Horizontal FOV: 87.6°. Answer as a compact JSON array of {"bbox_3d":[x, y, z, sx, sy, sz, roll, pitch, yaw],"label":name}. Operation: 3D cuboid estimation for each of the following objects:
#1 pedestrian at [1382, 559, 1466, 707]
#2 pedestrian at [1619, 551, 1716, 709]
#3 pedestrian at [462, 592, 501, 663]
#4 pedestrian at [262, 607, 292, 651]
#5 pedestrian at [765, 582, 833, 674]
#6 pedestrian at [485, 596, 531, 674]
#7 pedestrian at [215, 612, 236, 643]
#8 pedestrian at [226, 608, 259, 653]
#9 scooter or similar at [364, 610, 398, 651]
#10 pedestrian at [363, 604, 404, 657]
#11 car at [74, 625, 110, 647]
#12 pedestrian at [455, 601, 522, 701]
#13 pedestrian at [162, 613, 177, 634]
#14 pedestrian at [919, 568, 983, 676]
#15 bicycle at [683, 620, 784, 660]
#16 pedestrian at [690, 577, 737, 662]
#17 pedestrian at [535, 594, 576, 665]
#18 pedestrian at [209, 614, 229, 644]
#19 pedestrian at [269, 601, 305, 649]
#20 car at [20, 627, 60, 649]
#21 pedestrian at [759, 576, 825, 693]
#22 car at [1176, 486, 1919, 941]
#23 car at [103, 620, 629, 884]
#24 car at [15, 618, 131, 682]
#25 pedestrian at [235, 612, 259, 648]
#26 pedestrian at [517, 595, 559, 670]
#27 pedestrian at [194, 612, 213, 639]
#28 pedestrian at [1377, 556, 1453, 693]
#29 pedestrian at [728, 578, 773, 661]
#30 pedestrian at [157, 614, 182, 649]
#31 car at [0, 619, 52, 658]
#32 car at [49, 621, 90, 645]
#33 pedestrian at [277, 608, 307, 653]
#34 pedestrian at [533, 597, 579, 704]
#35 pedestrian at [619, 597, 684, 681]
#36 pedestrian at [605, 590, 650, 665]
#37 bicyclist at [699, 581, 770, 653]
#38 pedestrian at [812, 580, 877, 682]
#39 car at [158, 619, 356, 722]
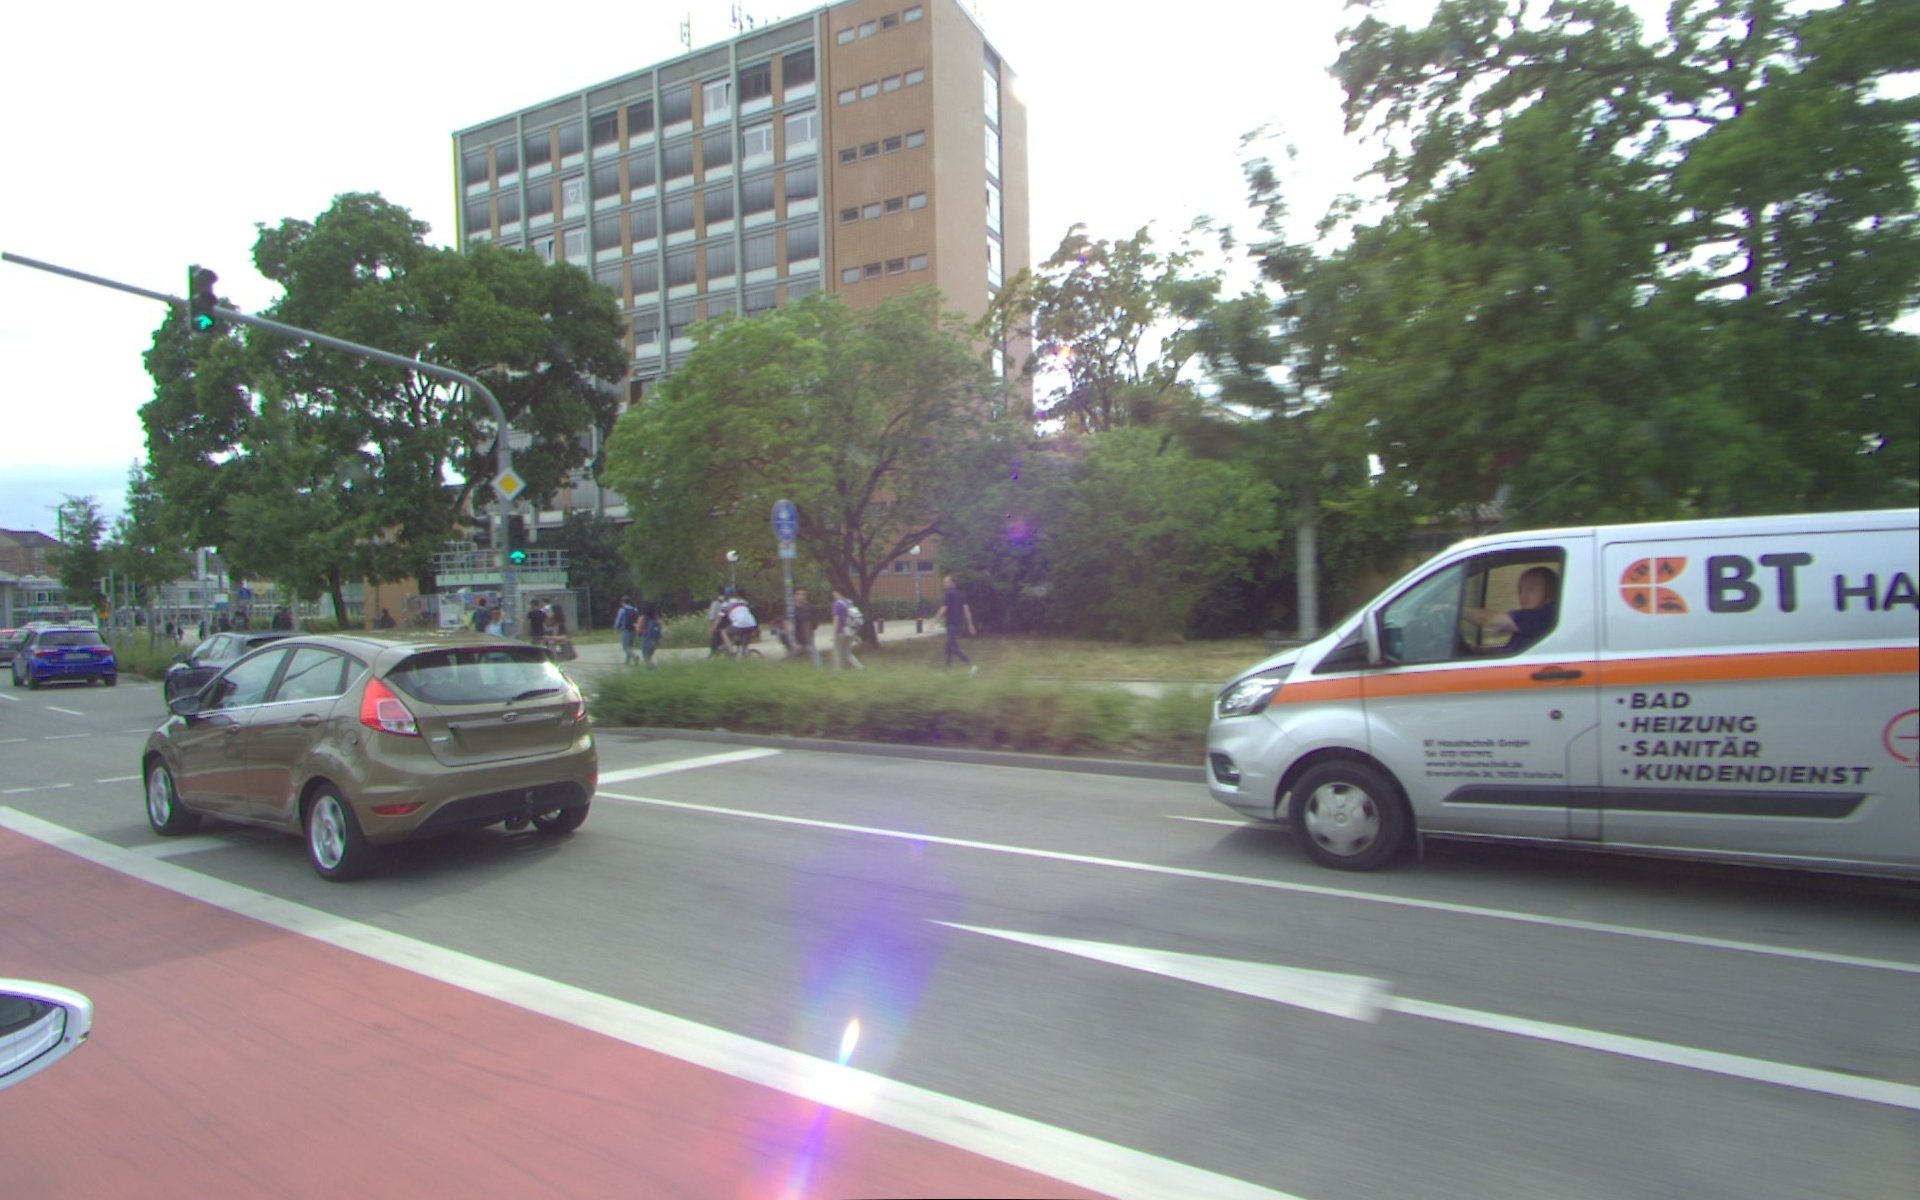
[{"bbox_3d":[5.665,0.402,12.275,0.785,1.733,0.839,-1,-1,16],"label":"pedestrian"},{"bbox_3d":[8.071,0.342,11.459,0.787,1.733,0.712,-1,-1,28],"label":"pedestrian"},{"bbox_3d":[-12.863,0.735,26.926,0.698,1.877,0.636,-1,1,34],"label":"pedestrian"},{"bbox_3d":[-27.806,1.182,40.774,0.801,1.733,0.776,-1,-1,34],"label":"pedestrian"},{"bbox_3d":[-3.137,0.554,19.494,0.999,1.733,0.835,-1,-1,34],"label":"pedestrian"},{"bbox_3d":[-10.344,0.792,22.932,0.698,1.734,0.636,-1,1,34],"label":"pedestrian"},{"bbox_3d":[-39.153,1.442,53.381,0.769,1.595,0.807,-3,2,-33],"label":"pedestrian"},{"bbox_3d":[-28.385,1.202,39.626,1.014,1.733,0.776,-1,-1,34],"label":"pedestrian"},{"bbox_3d":[-20.065,1.067,34.711,1.128,1.388,0.398,-1,-1,21],"label":"scooter or similar"},{"bbox_3d":[-18.103,0.951,31.439,0.801,1.595,0.775,-1,2,34],"label":"pedestrian"},{"bbox_3d":[-59.350,2.474,68.490,1.689,1.438,3.672,1,-2,-39],"label":"car"},{"bbox_3d":[-8.437,0.903,17.931,0.829,1.733,0.795,-1,-1,36],"label":"pedestrian"},{"bbox_3d":[-60.722,1.820,76.918,0.769,1.595,0.807,-3,2,-33],"label":"pedestrian"},{"bbox_3d":[-0.156,0.384,17.576,0.789,1.832,0.835,-1,-1,34],"label":"pedestrian"},{"bbox_3d":[-4.218,0.740,18.625,1.820,0.703,0.839,-2,-2,35],"label":"bicycle"},{"bbox_3d":[-5.088,0.408,20.671,0.698,1.733,0.636,-1,-1,34],"label":"pedestrian"},{"bbox_3d":[-10.117,0.731,25.067,0.698,1.734,0.636,-1,1,34],"label":"pedestrian"},{"bbox_3d":[-40.400,1.567,54.614,0.769,1.595,0.807,-3,2,-33],"label":"pedestrian"},{"bbox_3d":[-24.626,0.917,36.647,1.014,1.733,0.776,-1,-1,34],"label":"pedestrian"},{"bbox_3d":[-62.635,2.575,68.237,1.696,1.438,3.969,1,-2,-39],"label":"car"},{"bbox_3d":[-2.568,0.532,15.347,0.684,1.733,0.730,-1,-1,34],"label":"pedestrian"},{"bbox_3d":[3.978,0.533,5.554,5.129,1.984,1.817,-2,-2,31],"label":"car"},{"bbox_3d":[-4.253,0.880,7.073,3.646,1.422,1.693,-1,-2,31],"label":"car"},{"bbox_3d":[-23.220,1.272,26.180,3.958,1.552,1.849,-2,-2,42],"label":"car"},{"bbox_3d":[-32.469,1.362,45.616,0.769,1.595,0.807,-3,2,-33],"label":"pedestrian"},{"bbox_3d":[-9.909,0.757,23.527,0.698,1.733,0.636,-1,-1,34],"label":"pedestrian"},{"bbox_3d":[-45.084,1.501,59.672,0.769,1.595,0.807,-3,2,-33],"label":"pedestrian"},{"bbox_3d":[5.990,0.331,13.229,0.785,1.733,0.839,-1,-1,16],"label":"pedestrian"},{"bbox_3d":[-4.460,0.427,21.301,0.698,1.733,0.636,-1,-1,34],"label":"pedestrian"},{"bbox_3d":[-37.122,1.476,47.013,0.769,1.595,0.807,-3,2,-33],"label":"pedestrian"},{"bbox_3d":[-36.913,1.504,38.959,2.115,1.438,3.672,1,-2,-39],"label":"car"},{"bbox_3d":[-55.474,2.056,62.411,1.689,1.438,3.672,1,-2,-39],"label":"car"},{"bbox_3d":[-26.305,1.210,39.436,0.801,1.733,0.776,-1,-1,34],"label":"pedestrian"},{"bbox_3d":[-6.725,0.837,16.676,0.580,1.733,0.478,-1,-1,36],"label":"pedestrian"},{"bbox_3d":[-6.032,0.750,19.604,0.789,1.564,0.834,-1,3,34],"label":"pedestrian"},{"bbox_3d":[-7.911,0.653,23.851,0.698,1.734,0.636,-1,2,34],"label":"pedestrian"},{"bbox_3d":[-4.183,0.332,18.610,0.999,1.293,0.835,-1,-1,34],"label":"bicyclist"},{"bbox_3d":[-2.034,0.547,17.684,0.789,1.733,0.835,-1,-1,34],"label":"pedestrian"},{"bbox_3d":[-11.704,1.105,16.604,3.588,1.527,1.661,-2,-2,37],"label":"car"}]
